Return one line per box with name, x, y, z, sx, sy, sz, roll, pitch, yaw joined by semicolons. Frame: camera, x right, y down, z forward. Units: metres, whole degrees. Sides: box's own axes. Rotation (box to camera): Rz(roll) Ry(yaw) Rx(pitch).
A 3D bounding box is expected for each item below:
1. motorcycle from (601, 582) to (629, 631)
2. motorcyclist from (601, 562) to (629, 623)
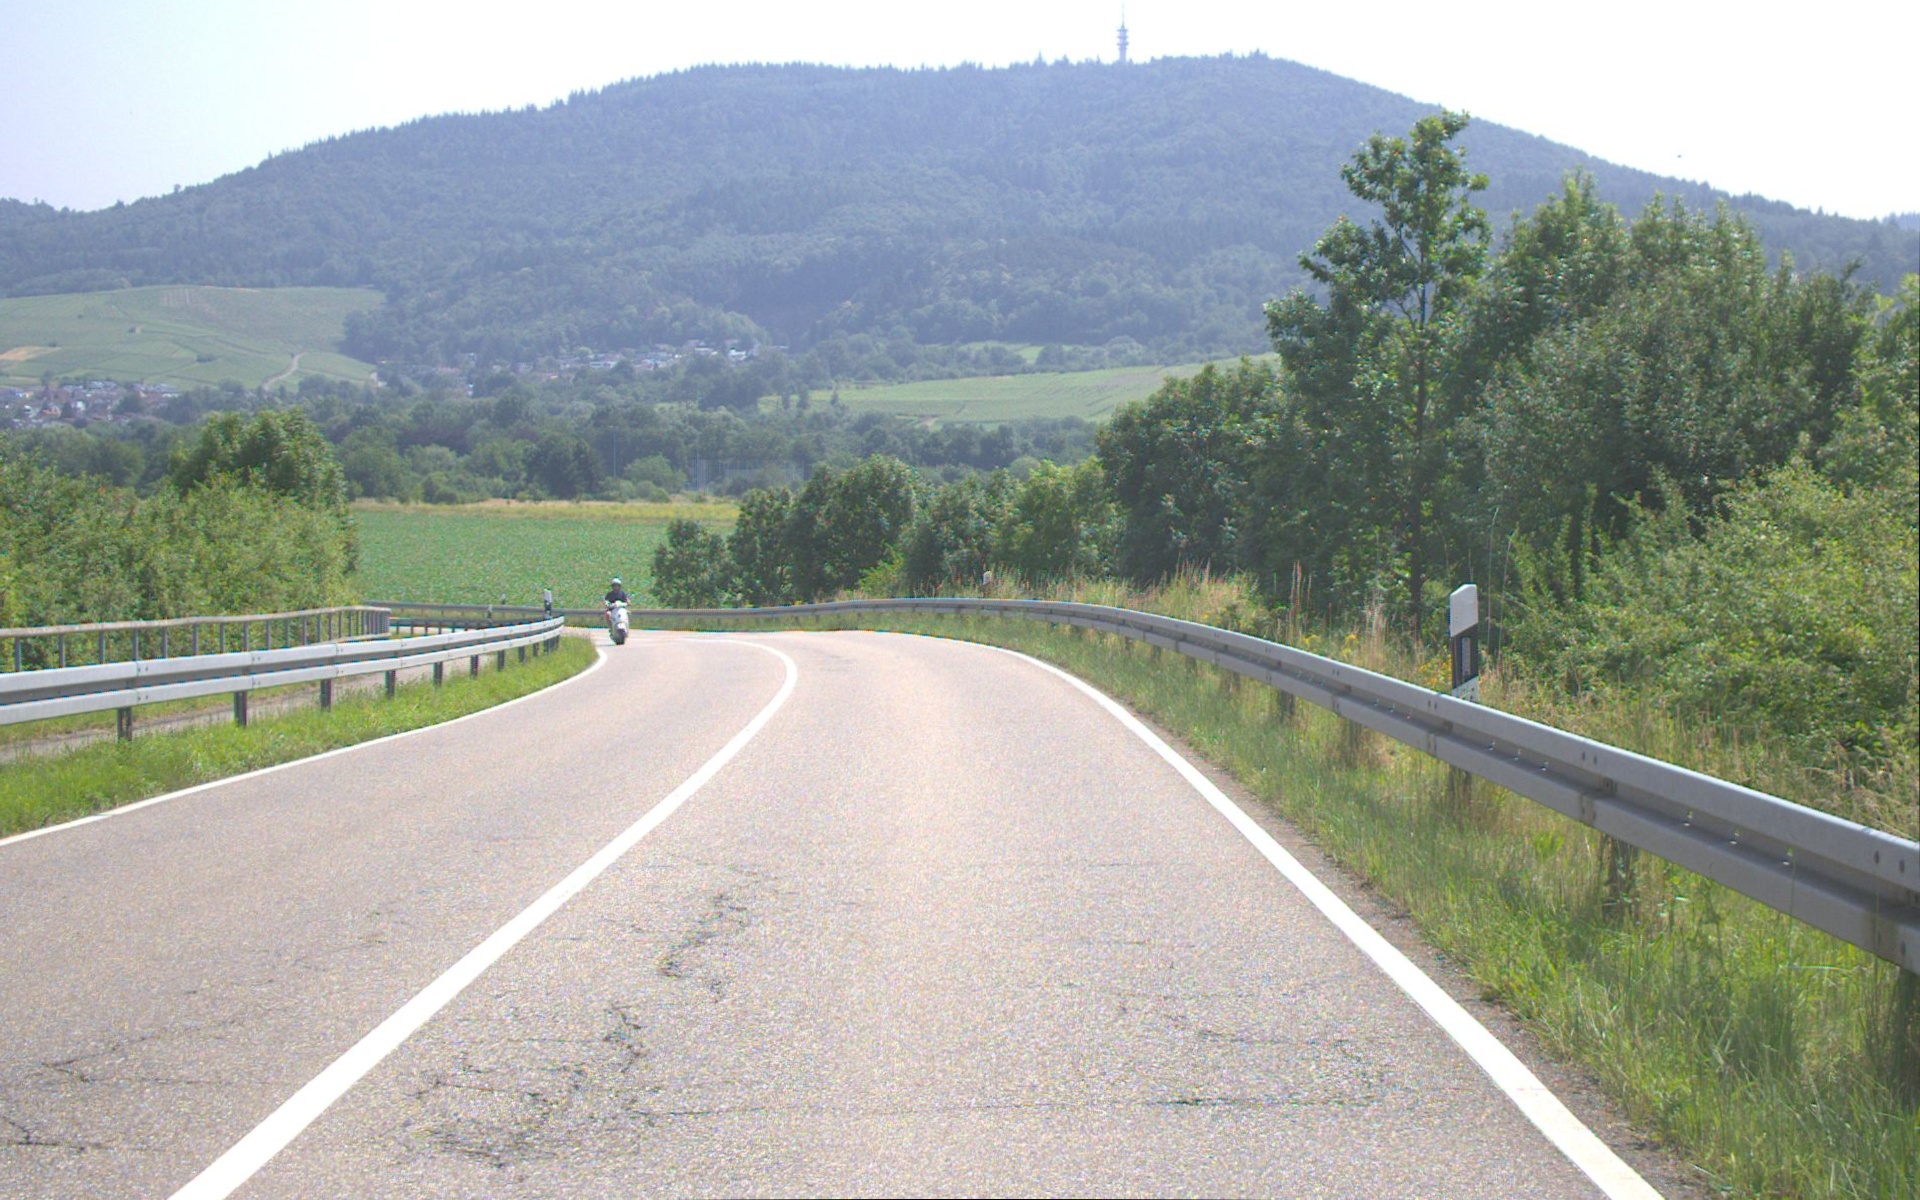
motorcycle;-8.973;0.163;89.456;0.643;1.219;1.638;-3;1;-6
motorcyclist;-8.981;-0.203;89.470;0.654;1.557;0.775;-3;1;-6
